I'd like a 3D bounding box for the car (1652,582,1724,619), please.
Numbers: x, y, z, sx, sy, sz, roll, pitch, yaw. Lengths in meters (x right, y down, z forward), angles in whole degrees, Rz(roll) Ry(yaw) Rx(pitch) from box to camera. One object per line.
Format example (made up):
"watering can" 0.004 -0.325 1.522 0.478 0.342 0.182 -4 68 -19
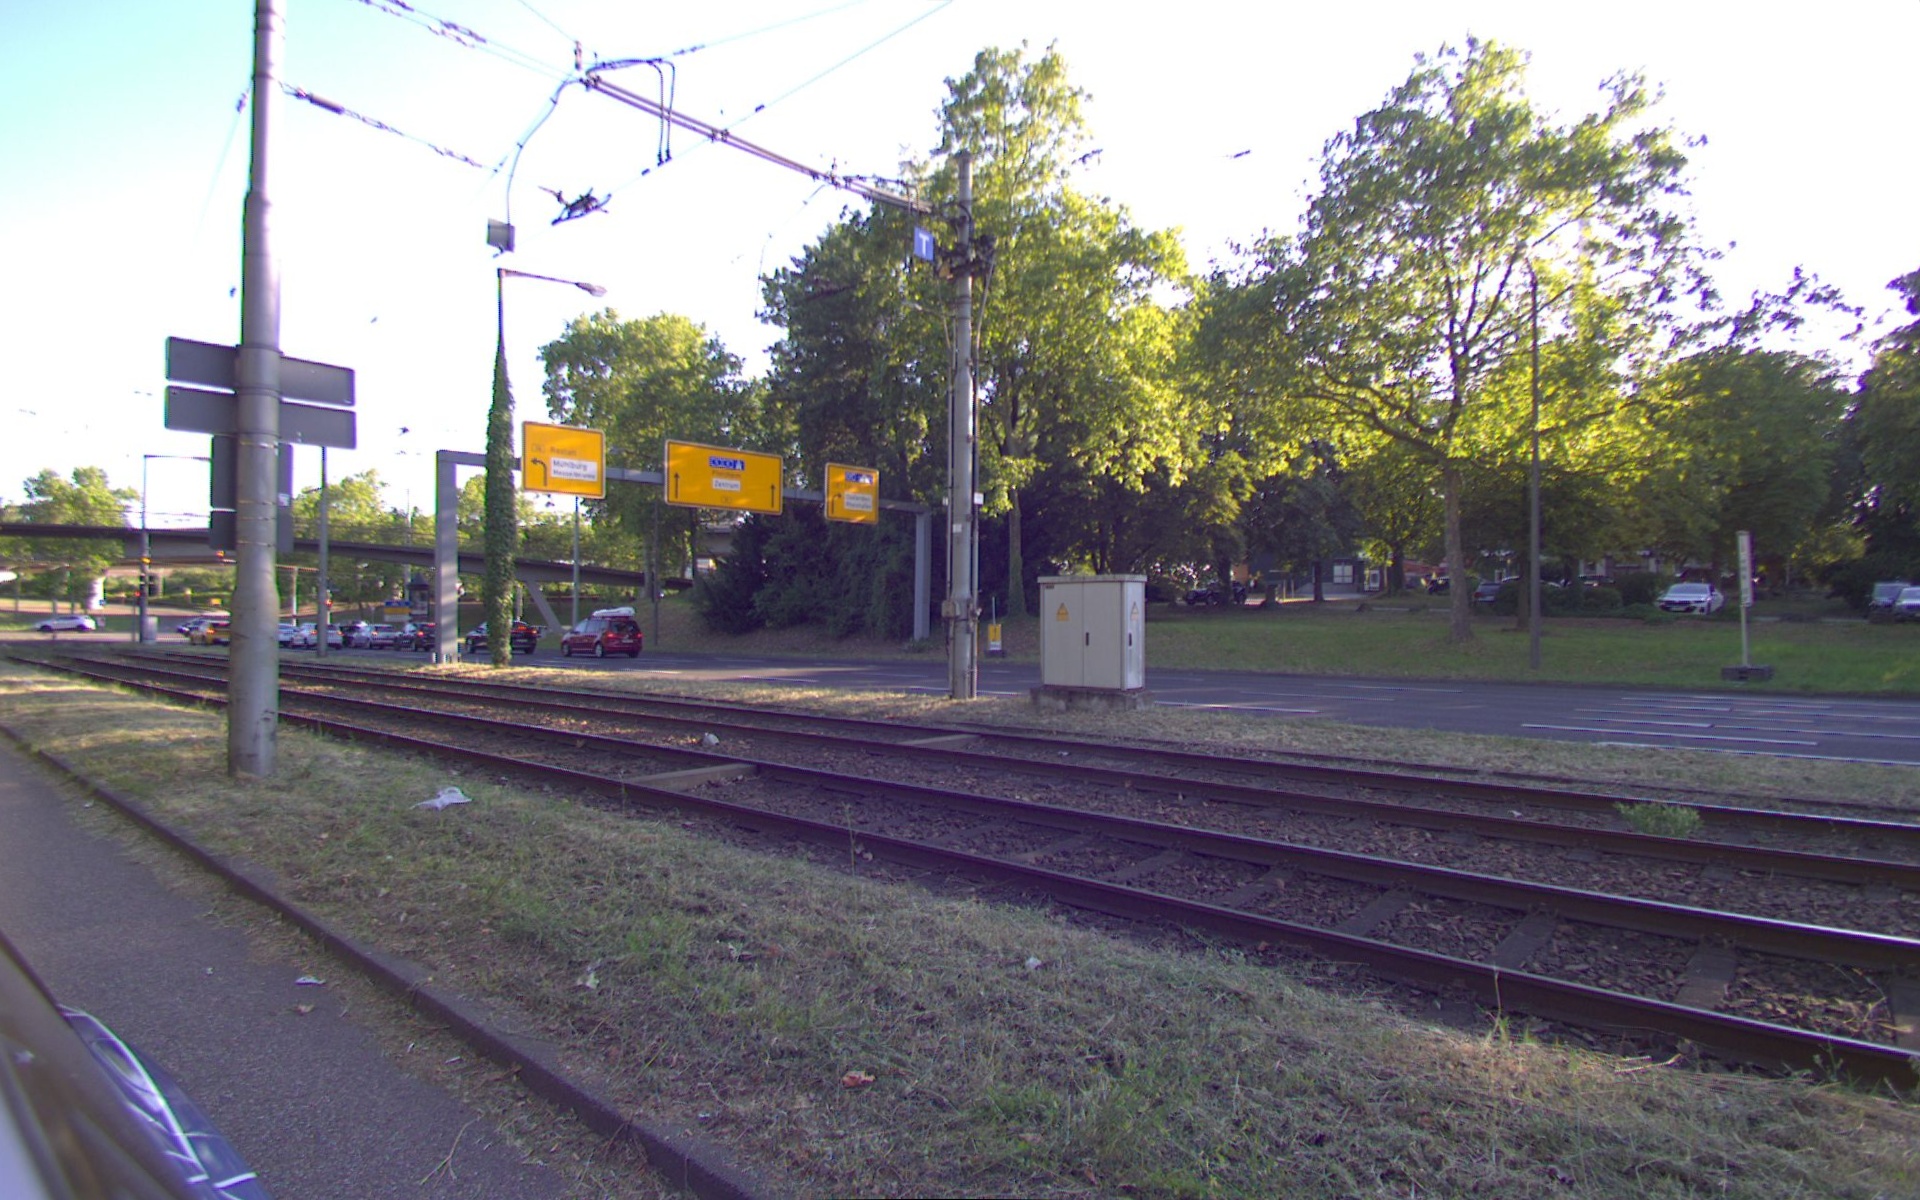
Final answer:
"car" 31.560 -0.008 43.847 1.942 1.521 4.039 0 0 44

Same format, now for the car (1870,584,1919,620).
"car" 43.967 0.083 47.230 3.998 1.628 1.864 -1 0 -43

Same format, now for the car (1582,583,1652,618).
"car" 30.033 -0.004 46.223 1.942 1.521 4.039 0 0 44

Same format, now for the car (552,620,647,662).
"car" -15.110 1.674 42.304 4.308 1.647 1.818 -1 -2 40

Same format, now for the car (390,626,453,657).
"car" -28.975 2.207 54.377 3.971 1.569 1.733 -2 -3 42

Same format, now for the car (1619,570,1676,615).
"car" 36.883 -0.412 54.242 2.161 2.320 4.348 0 0 40

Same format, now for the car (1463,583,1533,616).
"car" 26.168 -0.055 49.188 1.942 1.521 4.039 0 0 44

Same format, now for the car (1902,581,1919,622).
"car" 37.579 0.025 38.896 1.942 1.521 4.039 0 0 44

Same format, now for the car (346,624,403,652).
"car" -34.952 2.237 60.402 3.998 1.556 1.789 -1 -1 41

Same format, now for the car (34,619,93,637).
"car" -81.318 2.523 91.860 3.728 1.510 1.769 -1 0 -32

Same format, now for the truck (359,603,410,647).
"truck" -40.306 1.733 70.767 2.248 2.901 6.895 0 -1 -37

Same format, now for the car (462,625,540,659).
"car" -21.788 1.956 47.962 4.332 1.556 1.713 -1 -2 41

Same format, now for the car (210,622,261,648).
"car" -45.841 2.176 64.043 4.228 1.561 1.892 -1 -2 44

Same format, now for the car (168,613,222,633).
"car" -70.419 2.100 93.231 3.748 1.740 1.682 -1 0 -29

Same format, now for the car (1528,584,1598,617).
"car" 28.423 0.005 47.660 1.942 1.521 4.039 0 0 44

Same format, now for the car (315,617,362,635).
"car" -60.926 2.539 99.292 3.747 1.591 1.683 -1 0 -26

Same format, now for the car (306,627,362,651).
"car" -39.765 2.437 64.228 4.224 1.435 1.844 -1 -1 40

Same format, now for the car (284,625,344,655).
"car" -35.743 2.198 55.955 3.997 1.556 1.744 -1 -1 40

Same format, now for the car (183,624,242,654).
"car" -40.806 2.117 55.254 3.997 1.556 1.744 -1 -1 40

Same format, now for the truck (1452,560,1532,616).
"truck" 31.740 -0.701 60.287 2.503 3.191 6.137 0 0 45

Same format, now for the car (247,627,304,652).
"car" -40.577 2.315 59.954 4.226 1.435 1.893 -1 -1 42

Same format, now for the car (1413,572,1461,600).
"car" 33.553 -1.008 71.064 2.290 1.864 5.214 -1 1 34

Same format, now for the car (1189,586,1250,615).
"car" 15.392 0.051 59.959 1.791 1.657 3.942 -1 -1 44
